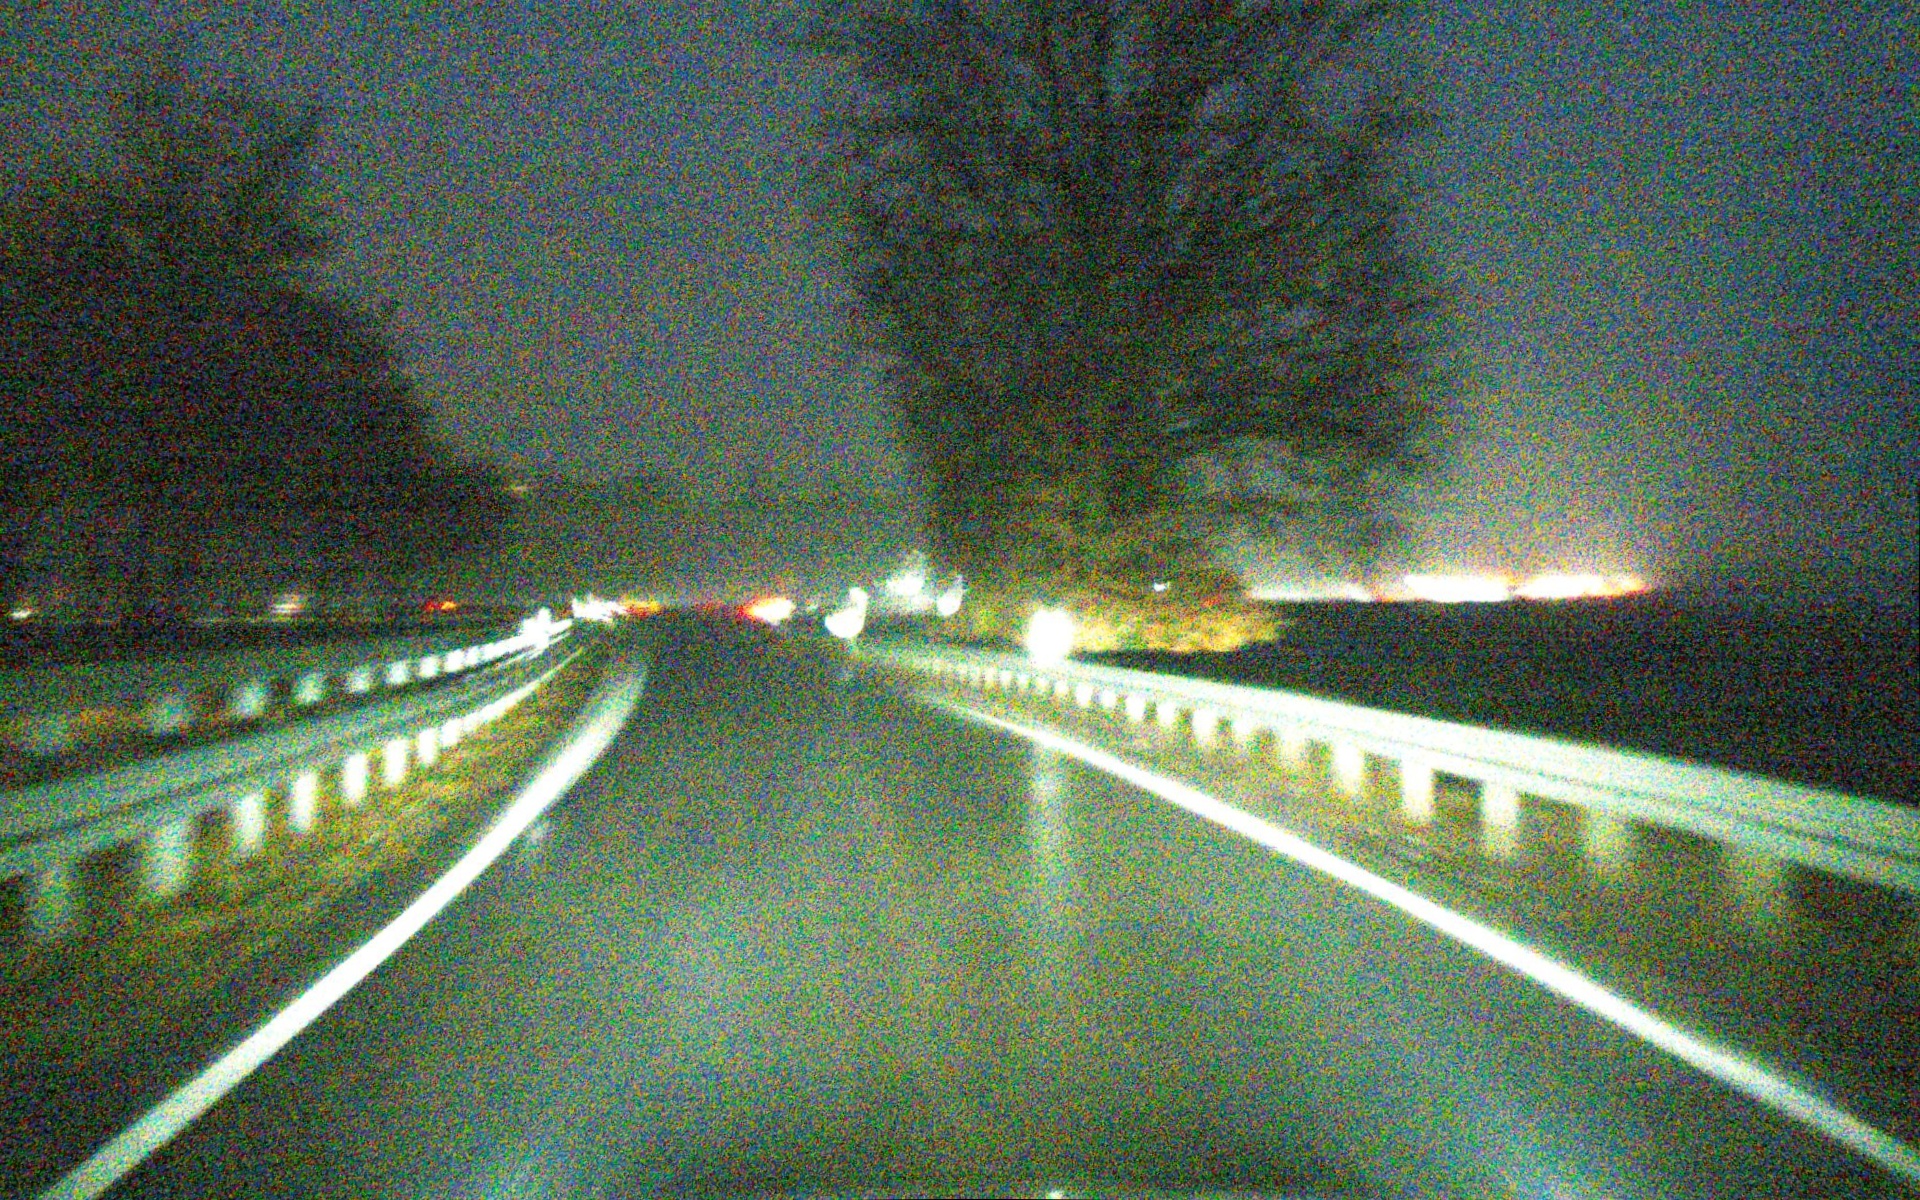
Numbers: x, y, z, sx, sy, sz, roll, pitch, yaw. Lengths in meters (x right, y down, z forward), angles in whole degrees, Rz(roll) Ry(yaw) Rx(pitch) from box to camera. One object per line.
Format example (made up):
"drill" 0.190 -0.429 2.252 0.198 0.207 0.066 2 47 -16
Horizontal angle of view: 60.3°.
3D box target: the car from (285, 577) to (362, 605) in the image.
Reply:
"car" -38.894 -0.548 101.141 1.962 1.545 3.982 2 1 38
